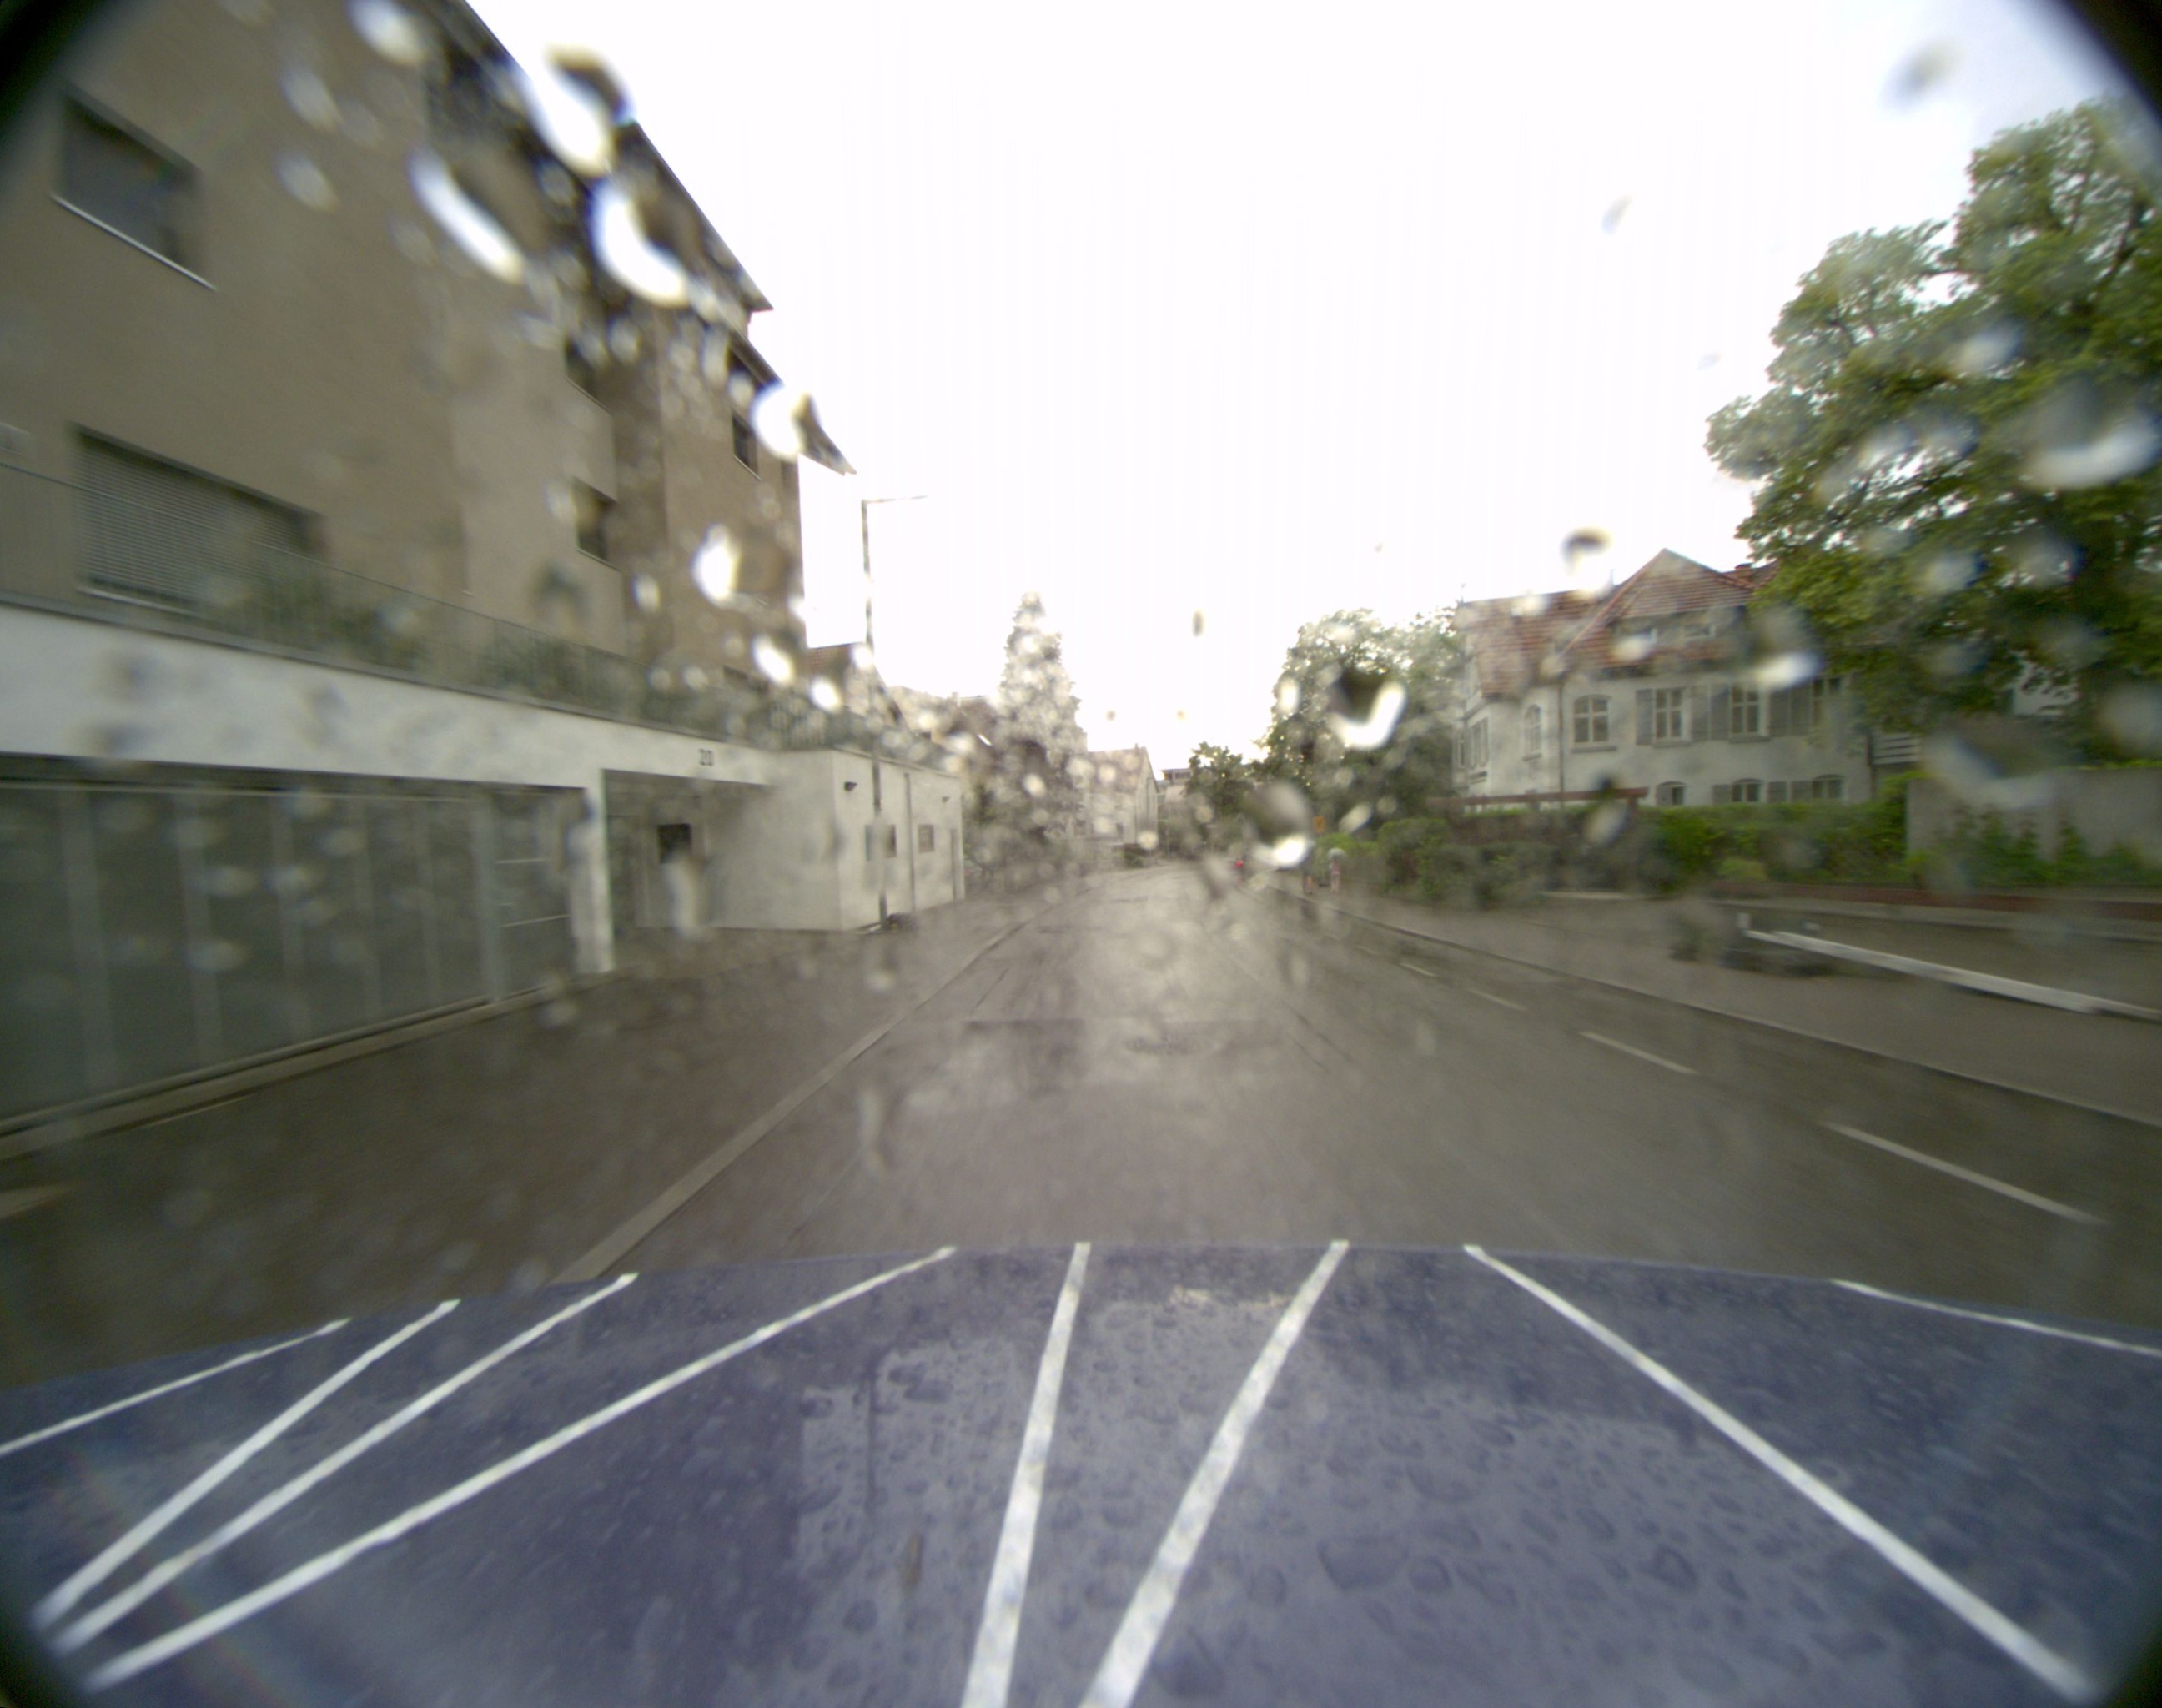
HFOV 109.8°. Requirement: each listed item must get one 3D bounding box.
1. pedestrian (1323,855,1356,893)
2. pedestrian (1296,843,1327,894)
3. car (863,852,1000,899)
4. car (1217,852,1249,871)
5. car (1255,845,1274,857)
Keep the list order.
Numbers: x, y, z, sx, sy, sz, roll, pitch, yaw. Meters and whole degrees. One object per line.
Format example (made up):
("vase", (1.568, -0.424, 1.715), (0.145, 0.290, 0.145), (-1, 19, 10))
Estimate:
("pedestrian", (8.310, 0.635, 24.468), (0.757, 1.173, 1.040), (-3, 1, 7))
("pedestrian", (7.667, 0.461, 25.341), (0.757, 1.634, 1.040), (-3, 1, 7))
("car", (-4.957, 0.720, 25.436), (3.992, 1.449, 2.002), (-1, 1, 18))
("car", (10.144, 0.470, 50.628), (1.681, 1.140, 4.005), (-1, 0, 17))
("car", (26.255, -0.410, 108.808), (1.782, 1.561, 4.735), (-3, -1, 24))
